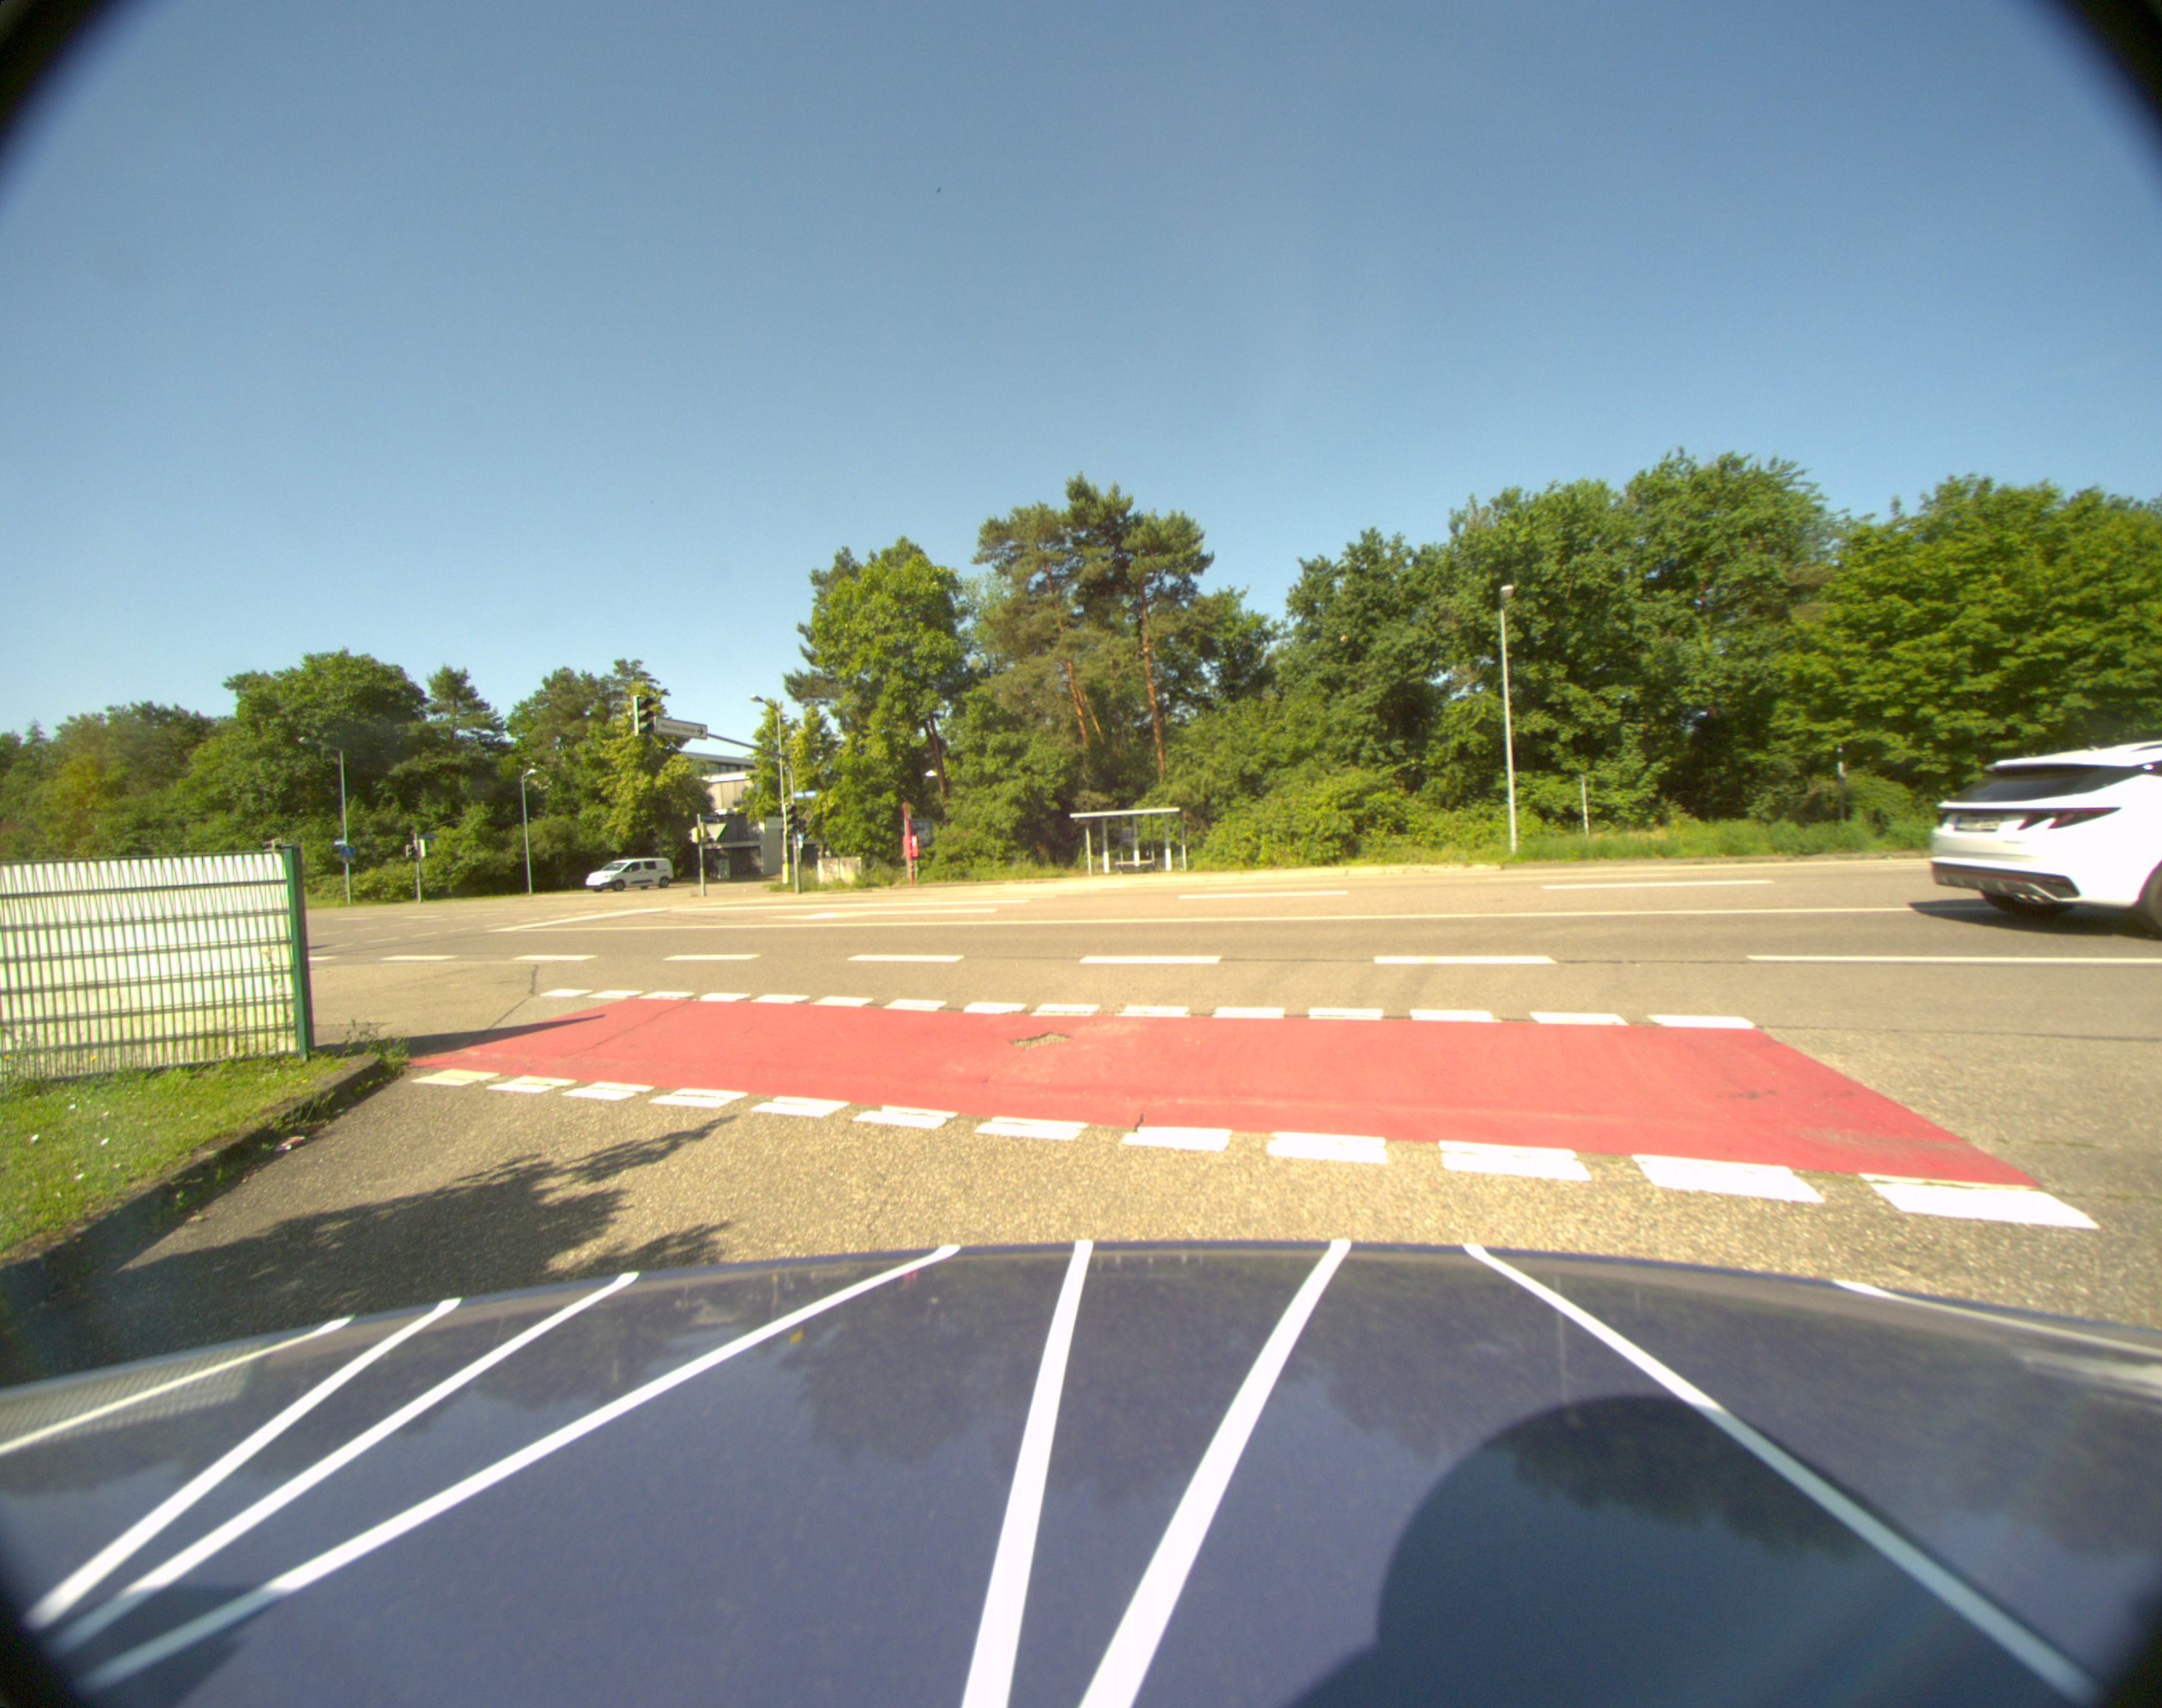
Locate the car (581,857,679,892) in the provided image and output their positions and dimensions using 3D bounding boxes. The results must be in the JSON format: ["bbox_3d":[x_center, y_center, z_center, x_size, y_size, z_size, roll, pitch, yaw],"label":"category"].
[{"bbox_3d":[-25.896,1.134,43.860,1.848,1.767,4.667,-2,1,20],"label":"car"}]

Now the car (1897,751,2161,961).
[{"bbox_3d":[10.130,-0.099,6.260,4.298,1.639,1.815,-3,3,19],"label":"car"}]
